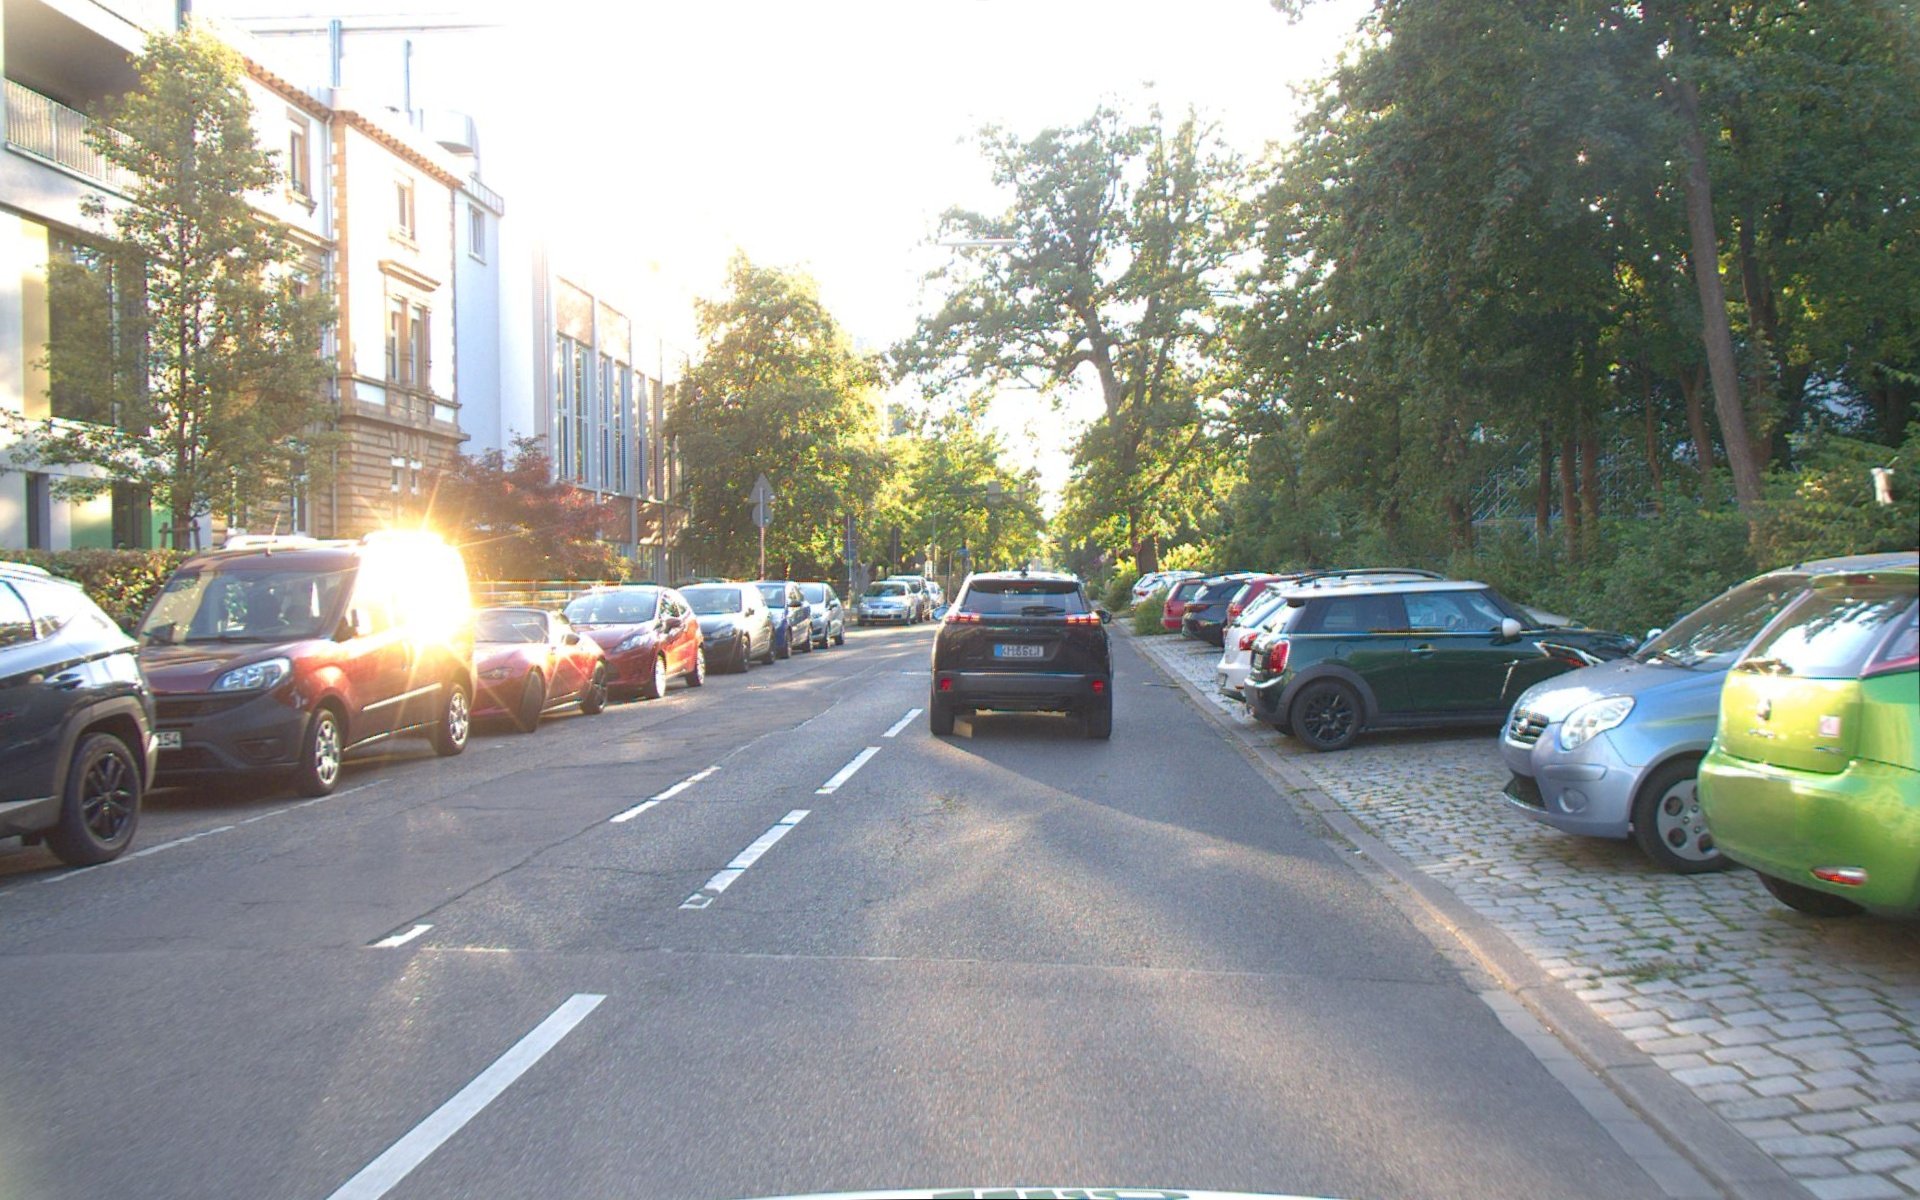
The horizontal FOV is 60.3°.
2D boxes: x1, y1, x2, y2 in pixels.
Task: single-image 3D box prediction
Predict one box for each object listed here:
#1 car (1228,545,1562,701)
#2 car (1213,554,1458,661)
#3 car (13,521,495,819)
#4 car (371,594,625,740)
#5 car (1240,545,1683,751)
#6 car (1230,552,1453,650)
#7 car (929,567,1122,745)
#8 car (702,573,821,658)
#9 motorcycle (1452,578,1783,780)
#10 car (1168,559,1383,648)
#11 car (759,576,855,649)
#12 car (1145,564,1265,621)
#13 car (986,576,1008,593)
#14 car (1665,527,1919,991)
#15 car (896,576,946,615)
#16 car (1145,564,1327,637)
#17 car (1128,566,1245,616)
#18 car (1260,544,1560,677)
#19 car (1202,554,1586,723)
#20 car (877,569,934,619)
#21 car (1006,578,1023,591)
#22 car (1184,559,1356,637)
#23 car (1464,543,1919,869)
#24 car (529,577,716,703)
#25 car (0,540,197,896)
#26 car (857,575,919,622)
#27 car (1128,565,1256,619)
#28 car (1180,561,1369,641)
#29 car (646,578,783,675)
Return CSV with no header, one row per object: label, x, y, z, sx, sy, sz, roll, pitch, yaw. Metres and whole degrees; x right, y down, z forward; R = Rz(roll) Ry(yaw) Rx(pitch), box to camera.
car,5.248,0.258,20.307,3.591,1.579,1.735,-4,1,2
car,6.266,0.121,27.946,3.728,1.500,1.757,-4,0,4
car,-5.285,0.423,13.100,1.770,1.922,4.240,-2,1,3
car,-4.898,0.649,18.036,1.524,1.302,3.735,-2,1,3
car,4.515,0.405,15.284,3.535,1.552,1.672,-4,1,2
car,7.016,0.013,30.730,3.728,1.500,1.833,-4,0,4
car,0.683,0.480,16.610,1.731,1.596,3.382,0,1,3
car,-3.951,0.270,33.438,1.564,1.534,3.790,-2,1,6
motorcycle,4.672,0.554,11.887,2.048,1.327,0.779,-3,0,9
car,6.309,0.064,33.448,4.033,1.500,1.833,-3,0,5
car,-3.488,0.247,38.237,1.567,1.519,3.774,-2,1,4
car,7.644,-0.227,51.899,3.514,1.593,1.819,-3,0,3
car,3.241,-1.348,144.688,1.773,1.377,3.999,-1,1,-1
car,4.810,0.502,6.311,3.550,1.567,1.672,-1,1,4
car,-1.569,-0.205,67.853,1.644,1.482,3.884,-2,1,4
car,6.805,-0.008,41.097,4.247,1.500,1.743,-3,2,4
car,8.083,-0.326,59.107,4.081,1.740,1.869,0,1,8
car,6.135,0.139,22.915,3.647,1.524,1.821,-4,0,4
car,4.530,0.380,17.661,3.591,1.469,1.735,-4,1,2
car,-1.988,-0.257,61.505,1.644,1.738,4.343,-2,1,4
car,6.387,-1.821,194.783,1.773,1.377,4.000,-1,1,0
car,7.245,-0.059,38.908,3.636,1.582,1.742,-3,0,0
car,4.605,0.502,8.839,3.315,1.552,1.672,-1,0,2
car,-4.512,0.478,22.653,1.565,1.480,3.863,-2,1,3
car,-5.490,0.602,7.582,1.706,1.705,4.418,-2,1,3
car,-2.390,-0.085,55.941,1.635,1.520,4.063,0,1,4
car,7.606,-0.275,54.387,4.036,1.696,1.724,-1,1,4
car,6.854,0.015,36.362,3.841,1.479,1.833,-3,0,5
car,-4.194,0.397,28.821,1.565,1.480,4.057,-2,1,3
